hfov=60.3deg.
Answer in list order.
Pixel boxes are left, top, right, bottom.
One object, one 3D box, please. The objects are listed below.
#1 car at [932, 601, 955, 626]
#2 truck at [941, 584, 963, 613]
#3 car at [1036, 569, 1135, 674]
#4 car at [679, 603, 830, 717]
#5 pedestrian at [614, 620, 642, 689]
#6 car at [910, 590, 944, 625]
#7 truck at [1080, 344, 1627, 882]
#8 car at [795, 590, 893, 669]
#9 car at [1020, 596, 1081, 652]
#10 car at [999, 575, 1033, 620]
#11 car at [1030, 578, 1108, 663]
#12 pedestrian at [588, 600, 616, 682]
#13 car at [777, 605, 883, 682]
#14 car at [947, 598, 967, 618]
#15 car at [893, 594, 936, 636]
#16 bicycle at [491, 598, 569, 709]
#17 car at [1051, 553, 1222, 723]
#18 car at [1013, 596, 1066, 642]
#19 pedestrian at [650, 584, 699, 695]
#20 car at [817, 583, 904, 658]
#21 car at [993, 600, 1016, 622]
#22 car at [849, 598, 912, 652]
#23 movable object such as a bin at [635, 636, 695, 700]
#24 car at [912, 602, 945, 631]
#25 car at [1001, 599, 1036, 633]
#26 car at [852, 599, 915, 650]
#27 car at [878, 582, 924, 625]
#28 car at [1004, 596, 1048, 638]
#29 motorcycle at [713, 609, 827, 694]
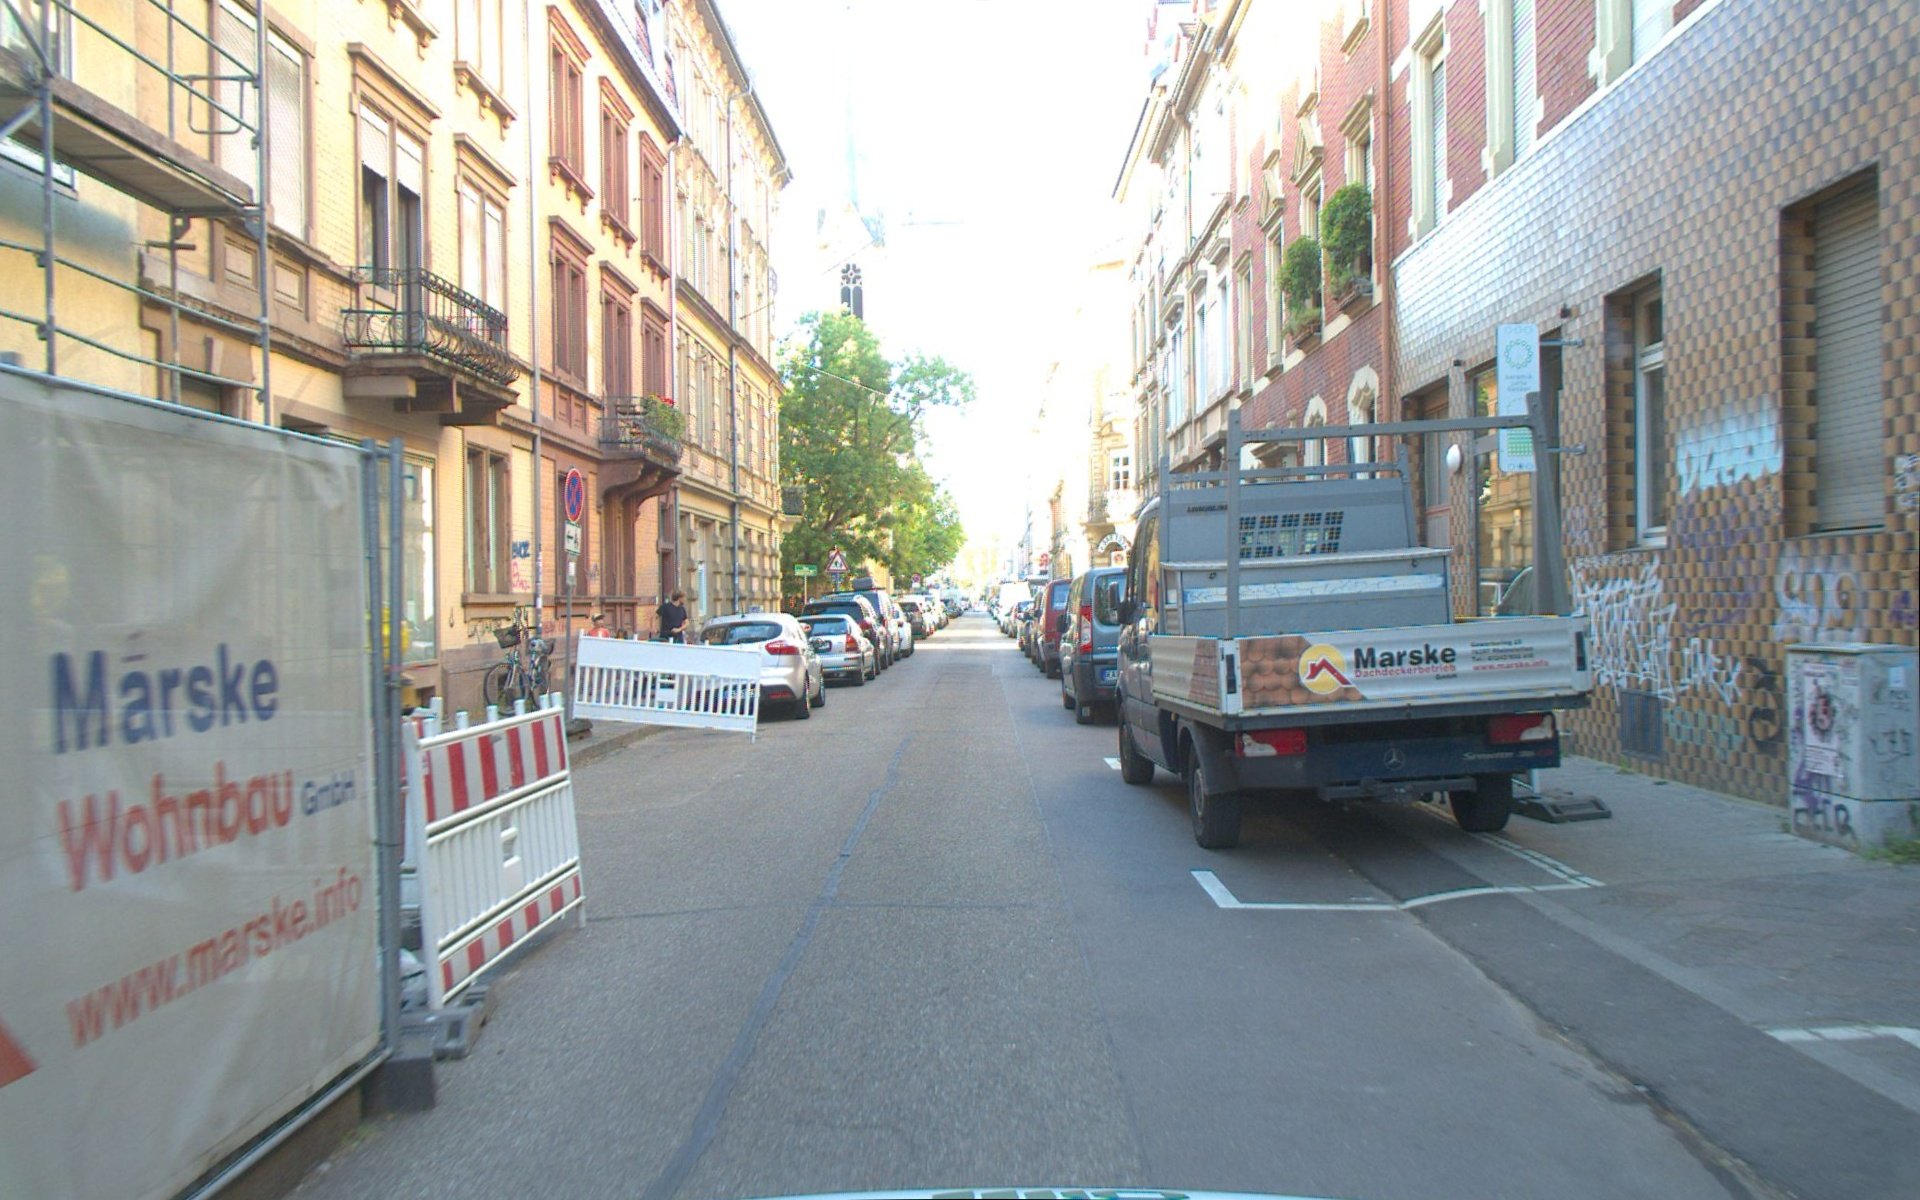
[{"bbox_3d":[-1.189,0.974,119.254,1.567,1.642,3.808,-3,0,0],"label":"car"},{"bbox_3d":[-0.944,-0.165,196.623,2.480,3.339,6.995,-1,0,1],"label":"truck"},{"bbox_3d":[2.603,0.425,35.199,1.794,2.049,4.742,1,0,1],"label":"car"},{"bbox_3d":[-2.876,0.800,23.892,1.640,1.443,4.000,-2,0,0],"label":"car"},{"bbox_3d":[-5.428,0.888,27.039,0.386,1.105,0.431,0,0,-5],"label":"pedestrian"},{"bbox_3d":[-1.915,0.444,98.168,1.826,1.991,4.610,-2,0,0],"label":"car"},{"bbox_3d":[2.335,0.065,11.958,2.105,2.703,6.251,-5,0,-2],"label":"truck"},{"bbox_3d":[-2.576,0.643,37.593,1.751,1.653,4.608,1,0,2],"label":"car"},{"bbox_3d":[2.572,0.654,47.714,1.632,1.505,3.888,0,0,1],"label":"car"},{"bbox_3d":[3.405,-0.158,101.771,2.025,2.656,5.888,0,0,1],"label":"car"},{"bbox_3d":[2.689,0.485,41.511,1.733,1.995,4.264,1,0,1],"label":"car"},{"bbox_3d":[-5.865,0.674,27.130,0.386,1.329,0.431,0,0,-5],"label":"pedestrian"},{"bbox_3d":[-2.496,0.816,32.573,1.664,1.337,4.000,3,0,1],"label":"car"},{"bbox_3d":[-0.288,0.768,158.172,1.837,1.828,4.000,-1,0,1],"label":"car"},{"bbox_3d":[-1.870,0.608,68.594,1.705,1.675,4.287,-1,0,-1],"label":"car"},{"bbox_3d":[-5.905,0.713,22.781,0.513,1.450,1.712,3,-1,2],"label":"bicycle"},{"bbox_3d":[2.274,0.463,22.392,1.807,2.018,4.576,2,0,0],"label":"car"},{"bbox_3d":[2.738,0.642,57.482,1.671,1.484,4.511,1,0,1],"label":"car"},{"bbox_3d":[-4.719,0.644,27.362,0.671,1.796,0.887,0,0,-2],"label":"pedestrian"},{"bbox_3d":[-2.532,0.518,43.162,1.853,1.816,4.608,1,0,1],"label":"car"},{"bbox_3d":[3.194,0.765,117.645,1.570,1.531,4.001,1,0,2],"label":"car"},{"bbox_3d":[-2.254,0.694,47.596,1.640,1.445,3.874,1,0,-1],"label":"car"},{"bbox_3d":[-4.665,1.058,26.201,0.746,0.948,1.414,0,0,-3],"label":"movable object such as a bin"},{"bbox_3d":[-1.740,0.899,91.784,1.706,1.614,3.869,0,0,1],"label":"car"},{"bbox_3d":[3.047,0.843,87.060,1.770,1.719,4.214,1,-1,1],"label":"car"},{"bbox_3d":[-2.371,0.755,52.176,1.687,1.507,4.090,1,0,1],"label":"car"},{"bbox_3d":[-2.683,0.149,76.271,1.807,1.895,4.466,-1,0,2],"label":"car"},{"bbox_3d":[2.869,0.733,72.251,1.669,1.744,3.937,-1,0,-1],"label":"car"},{"bbox_3d":[-3.314,0.897,28.688,0.837,1.384,2.163,-3,0,-41],"label":"motorcycle"}]
